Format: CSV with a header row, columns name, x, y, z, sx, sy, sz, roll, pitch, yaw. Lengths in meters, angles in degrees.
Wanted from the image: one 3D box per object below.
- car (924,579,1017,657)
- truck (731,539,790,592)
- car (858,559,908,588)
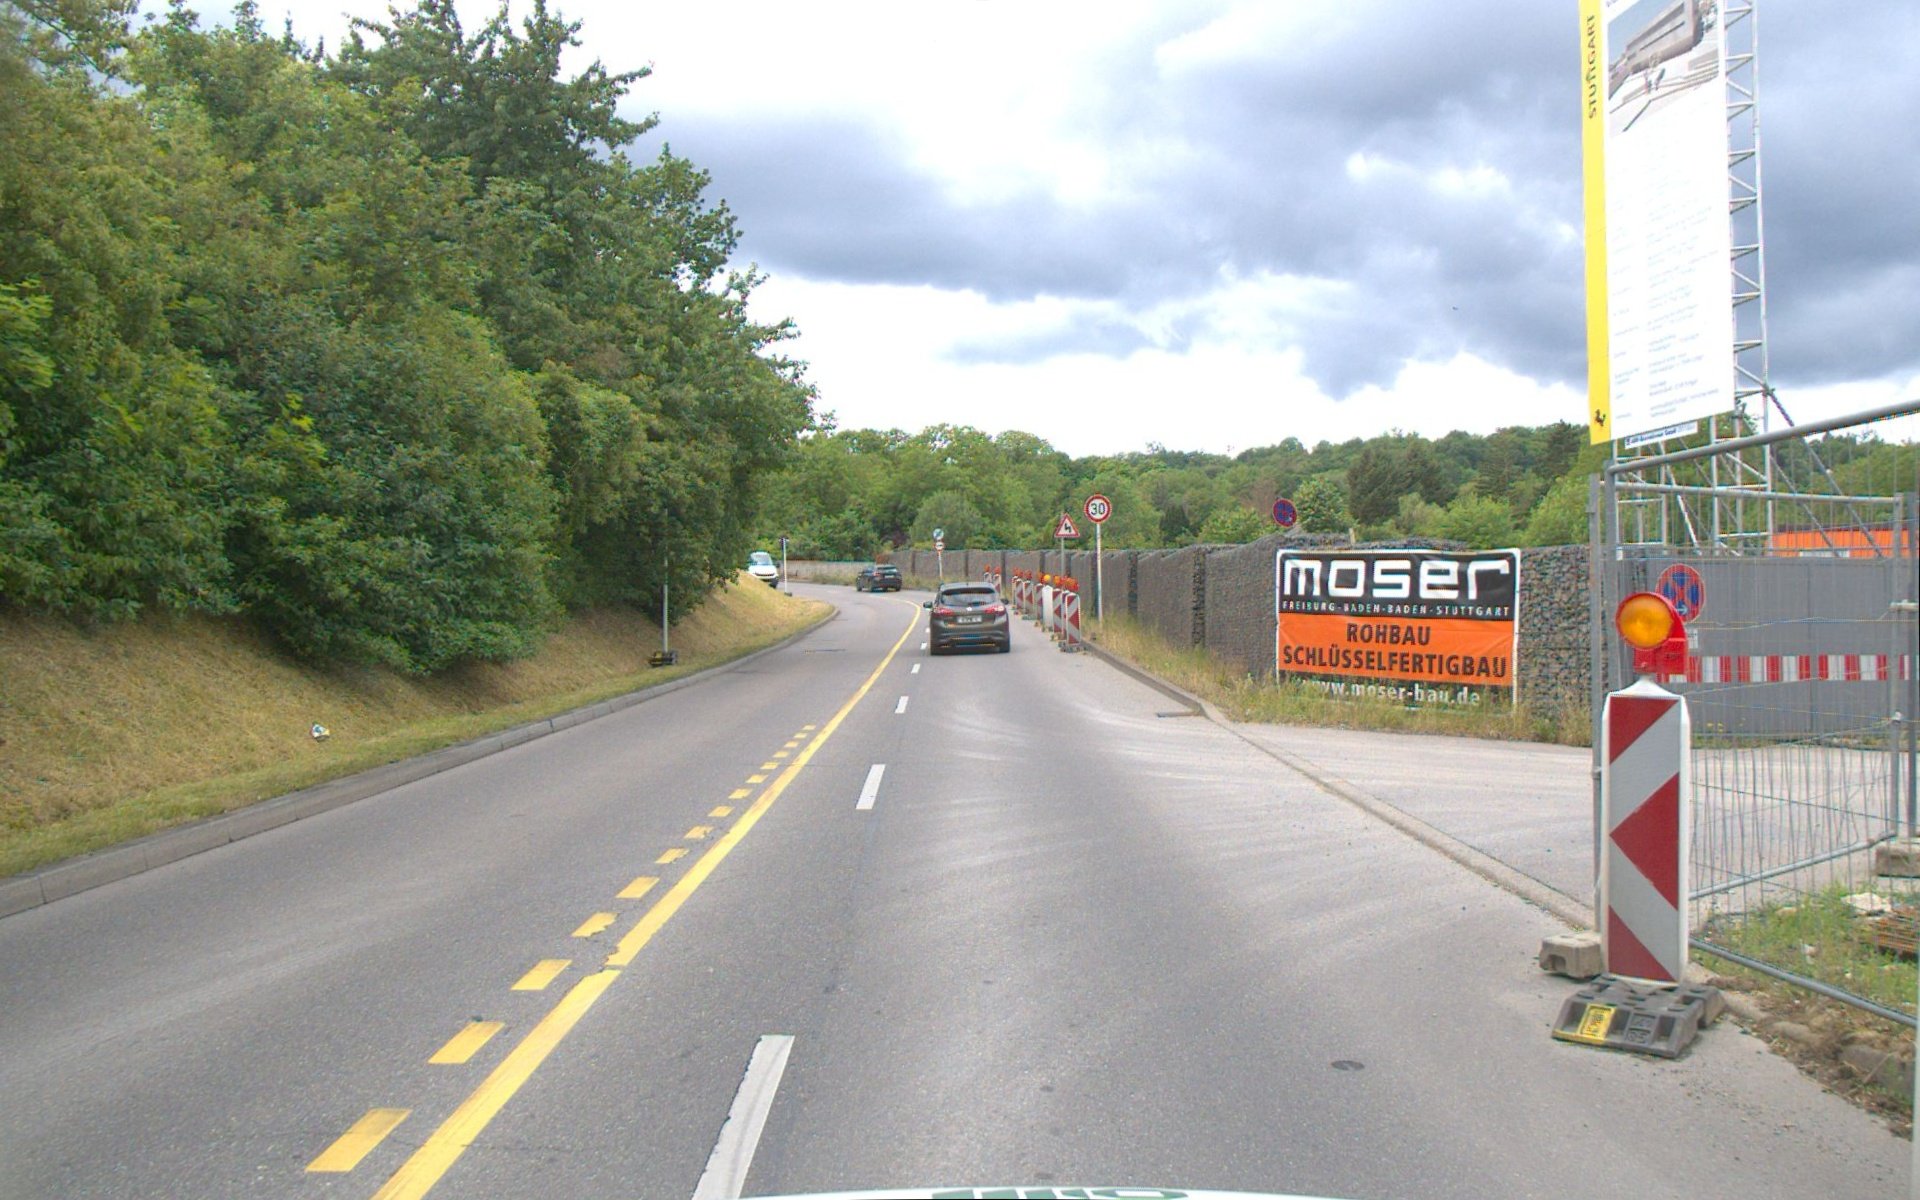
name,x,y,z,sx,sy,sz,roll,pitch,yaw
car,0.172,0.354,37.086,1.803,1.509,3.998,-3,2,-3
truck,-12.355,-2.113,102.075,2.180,3.067,7.702,-2,1,-17
car,-4.273,-1.433,91.254,1.752,1.478,3.836,2,-1,-19
